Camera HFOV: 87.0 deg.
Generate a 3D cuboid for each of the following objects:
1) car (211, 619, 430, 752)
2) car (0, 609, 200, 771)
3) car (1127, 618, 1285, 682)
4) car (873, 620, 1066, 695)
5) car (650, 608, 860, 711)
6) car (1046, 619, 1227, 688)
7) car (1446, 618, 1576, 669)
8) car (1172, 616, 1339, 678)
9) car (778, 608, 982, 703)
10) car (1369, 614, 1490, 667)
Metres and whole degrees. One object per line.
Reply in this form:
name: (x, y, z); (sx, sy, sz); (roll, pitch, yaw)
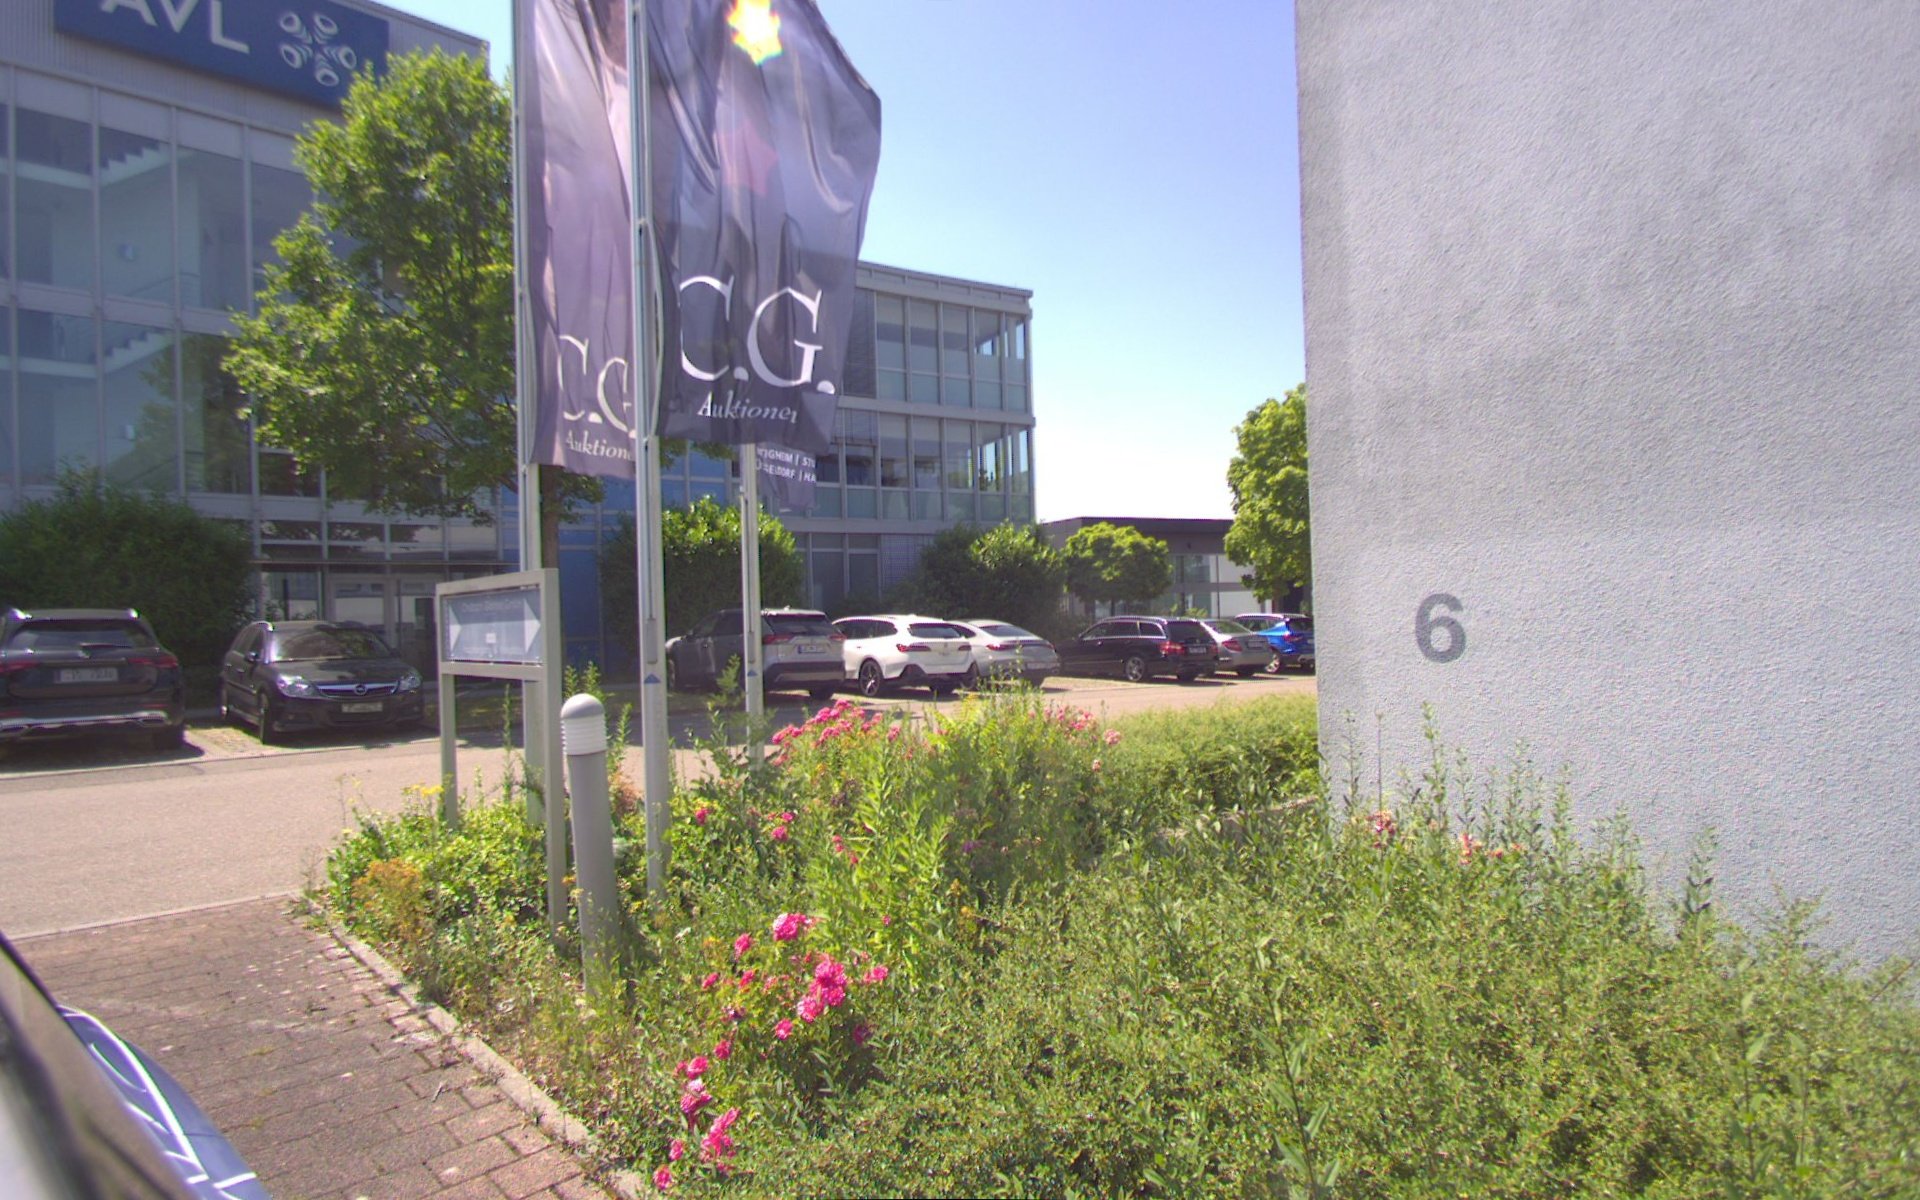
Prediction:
car: (-8.808, 1.032, 13.766); (1.705, 1.495, 4.401); (0, -1, -43)
car: (-10.491, 0.929, 11.923); (3.862, 1.615, 1.911); (-1, -2, 45)
car: (6.085, 1.189, 25.571); (1.722, 1.435, 4.185); (0, -1, -23)
car: (0.108, 1.147, 21.351); (1.726, 1.411, 4.176); (1, -2, -42)
car: (-3.819, 1.002, 18.381); (1.806, 1.650, 4.175); (1, -2, -44)
car: (4.042, 1.181, 23.795); (1.724, 1.435, 4.181); (1, -1, -36)
car: (16.449, 1.263, 30.337); (1.522, 1.435, 3.099); (0, -1, -25)
car: (7.802, 1.182, 27.109); (1.723, 1.435, 4.183); (0, 0, -34)
car: (-1.663, 1.014, 19.780); (1.805, 1.650, 4.176); (1, -2, -42)
car: (13.922, 1.157, 30.137); (1.522, 1.435, 3.009); (0, 0, -25)
